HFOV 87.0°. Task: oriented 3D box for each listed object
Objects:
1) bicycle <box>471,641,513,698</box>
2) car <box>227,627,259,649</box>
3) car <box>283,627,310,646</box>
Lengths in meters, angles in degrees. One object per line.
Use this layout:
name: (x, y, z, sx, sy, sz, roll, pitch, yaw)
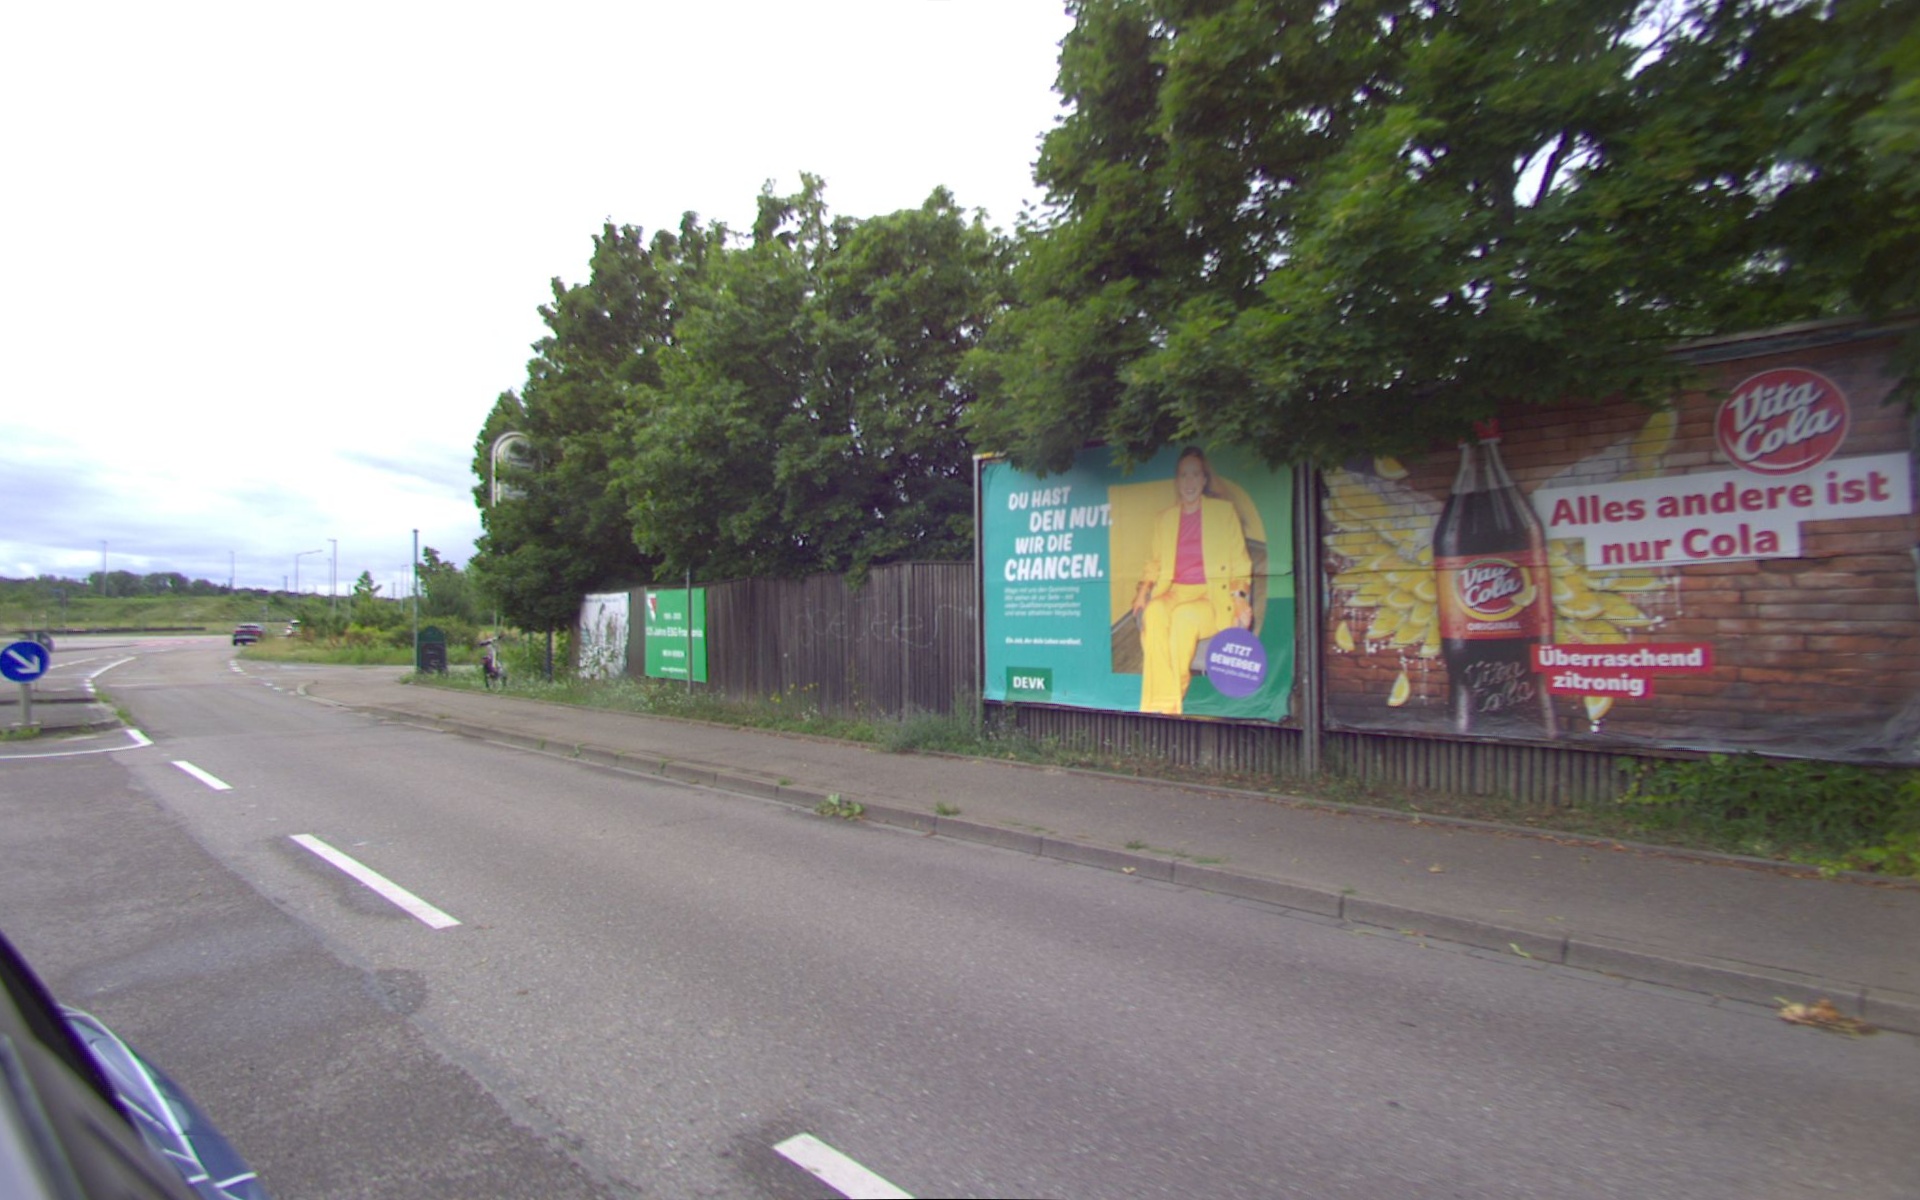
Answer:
bicycle: (-9.476, 1.381, 20.541, 0.574, 1.006, 1.775, -2, 1, -20)
car: (-50.475, 2.670, 71.230, 1.716, 1.464, 4.009, 1, -2, -36)
car: (-55.815, 3.057, 85.215, 1.813, 1.548, 4.011, 1, -2, -32)
